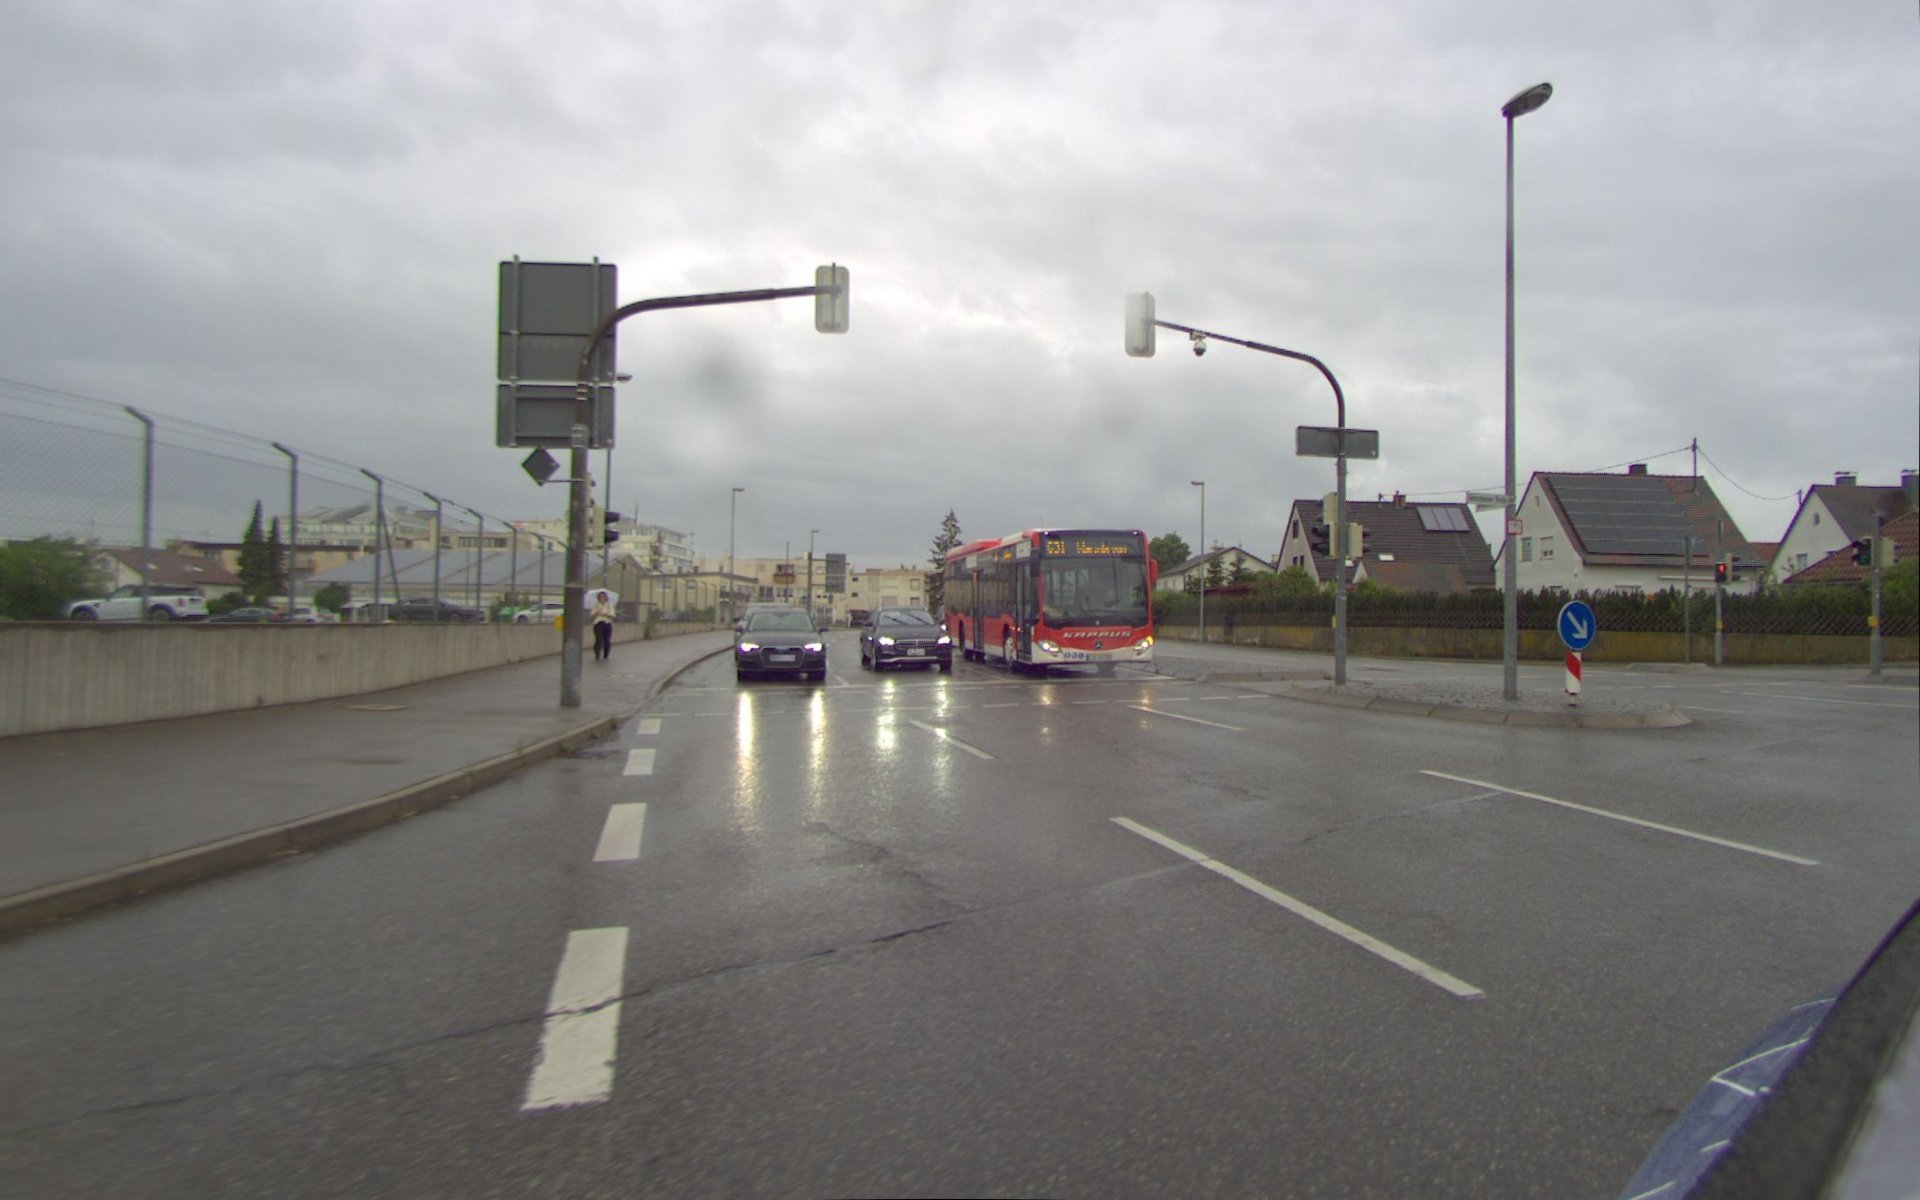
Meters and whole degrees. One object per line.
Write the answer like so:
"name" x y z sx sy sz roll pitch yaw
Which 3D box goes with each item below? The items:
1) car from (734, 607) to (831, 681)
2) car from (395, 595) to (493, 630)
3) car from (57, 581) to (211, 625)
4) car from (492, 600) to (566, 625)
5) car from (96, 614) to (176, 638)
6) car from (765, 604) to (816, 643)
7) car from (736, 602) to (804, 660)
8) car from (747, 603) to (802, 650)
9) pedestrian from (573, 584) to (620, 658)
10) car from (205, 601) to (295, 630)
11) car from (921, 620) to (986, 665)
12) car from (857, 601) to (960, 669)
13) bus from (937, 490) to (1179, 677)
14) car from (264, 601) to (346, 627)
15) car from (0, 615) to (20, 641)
"car" -3.780 0.854 21.397 1.788 1.372 4.401 1 0 -11
"car" -25.443 0.617 49.997 3.825 1.686 1.931 0 -1 2
"car" -30.403 0.094 37.360 4.103 1.579 1.714 0 0 -8
"car" -27.573 0.805 64.789 3.930 1.563 1.996 0 -1 6
"car" -56.067 1.741 68.900 3.921 1.560 1.848 0 0 -3
"car" -7.124 0.938 42.816 1.834 1.527 3.985 0 0 -5
"car" -5.531 0.842 29.443 1.788 1.558 4.401 1 0 -11
"car" -6.555 0.898 35.654 1.788 1.558 4.401 1 0 -11
"pedestrian" -8.503 0.481 23.696 0.851 1.630 0.875 4 -1 -14
"car" -41.845 0.913 59.672 3.925 1.638 1.999 0 -1 1
"car" -0.290 1.555 38.214 1.815 1.517 4.007 0 0 -10
"car" -1.356 0.782 24.596 1.863 1.486 4.600 1 0 -11
"bus" 1.808 -0.136 25.917 2.925 3.623 12.307 0 -2 -10
"car" -41.548 0.885 64.237 3.925 1.638 1.999 0 -1 1
"car" -62.189 1.758 63.901 3.921 1.560 1.848 0 0 -3
